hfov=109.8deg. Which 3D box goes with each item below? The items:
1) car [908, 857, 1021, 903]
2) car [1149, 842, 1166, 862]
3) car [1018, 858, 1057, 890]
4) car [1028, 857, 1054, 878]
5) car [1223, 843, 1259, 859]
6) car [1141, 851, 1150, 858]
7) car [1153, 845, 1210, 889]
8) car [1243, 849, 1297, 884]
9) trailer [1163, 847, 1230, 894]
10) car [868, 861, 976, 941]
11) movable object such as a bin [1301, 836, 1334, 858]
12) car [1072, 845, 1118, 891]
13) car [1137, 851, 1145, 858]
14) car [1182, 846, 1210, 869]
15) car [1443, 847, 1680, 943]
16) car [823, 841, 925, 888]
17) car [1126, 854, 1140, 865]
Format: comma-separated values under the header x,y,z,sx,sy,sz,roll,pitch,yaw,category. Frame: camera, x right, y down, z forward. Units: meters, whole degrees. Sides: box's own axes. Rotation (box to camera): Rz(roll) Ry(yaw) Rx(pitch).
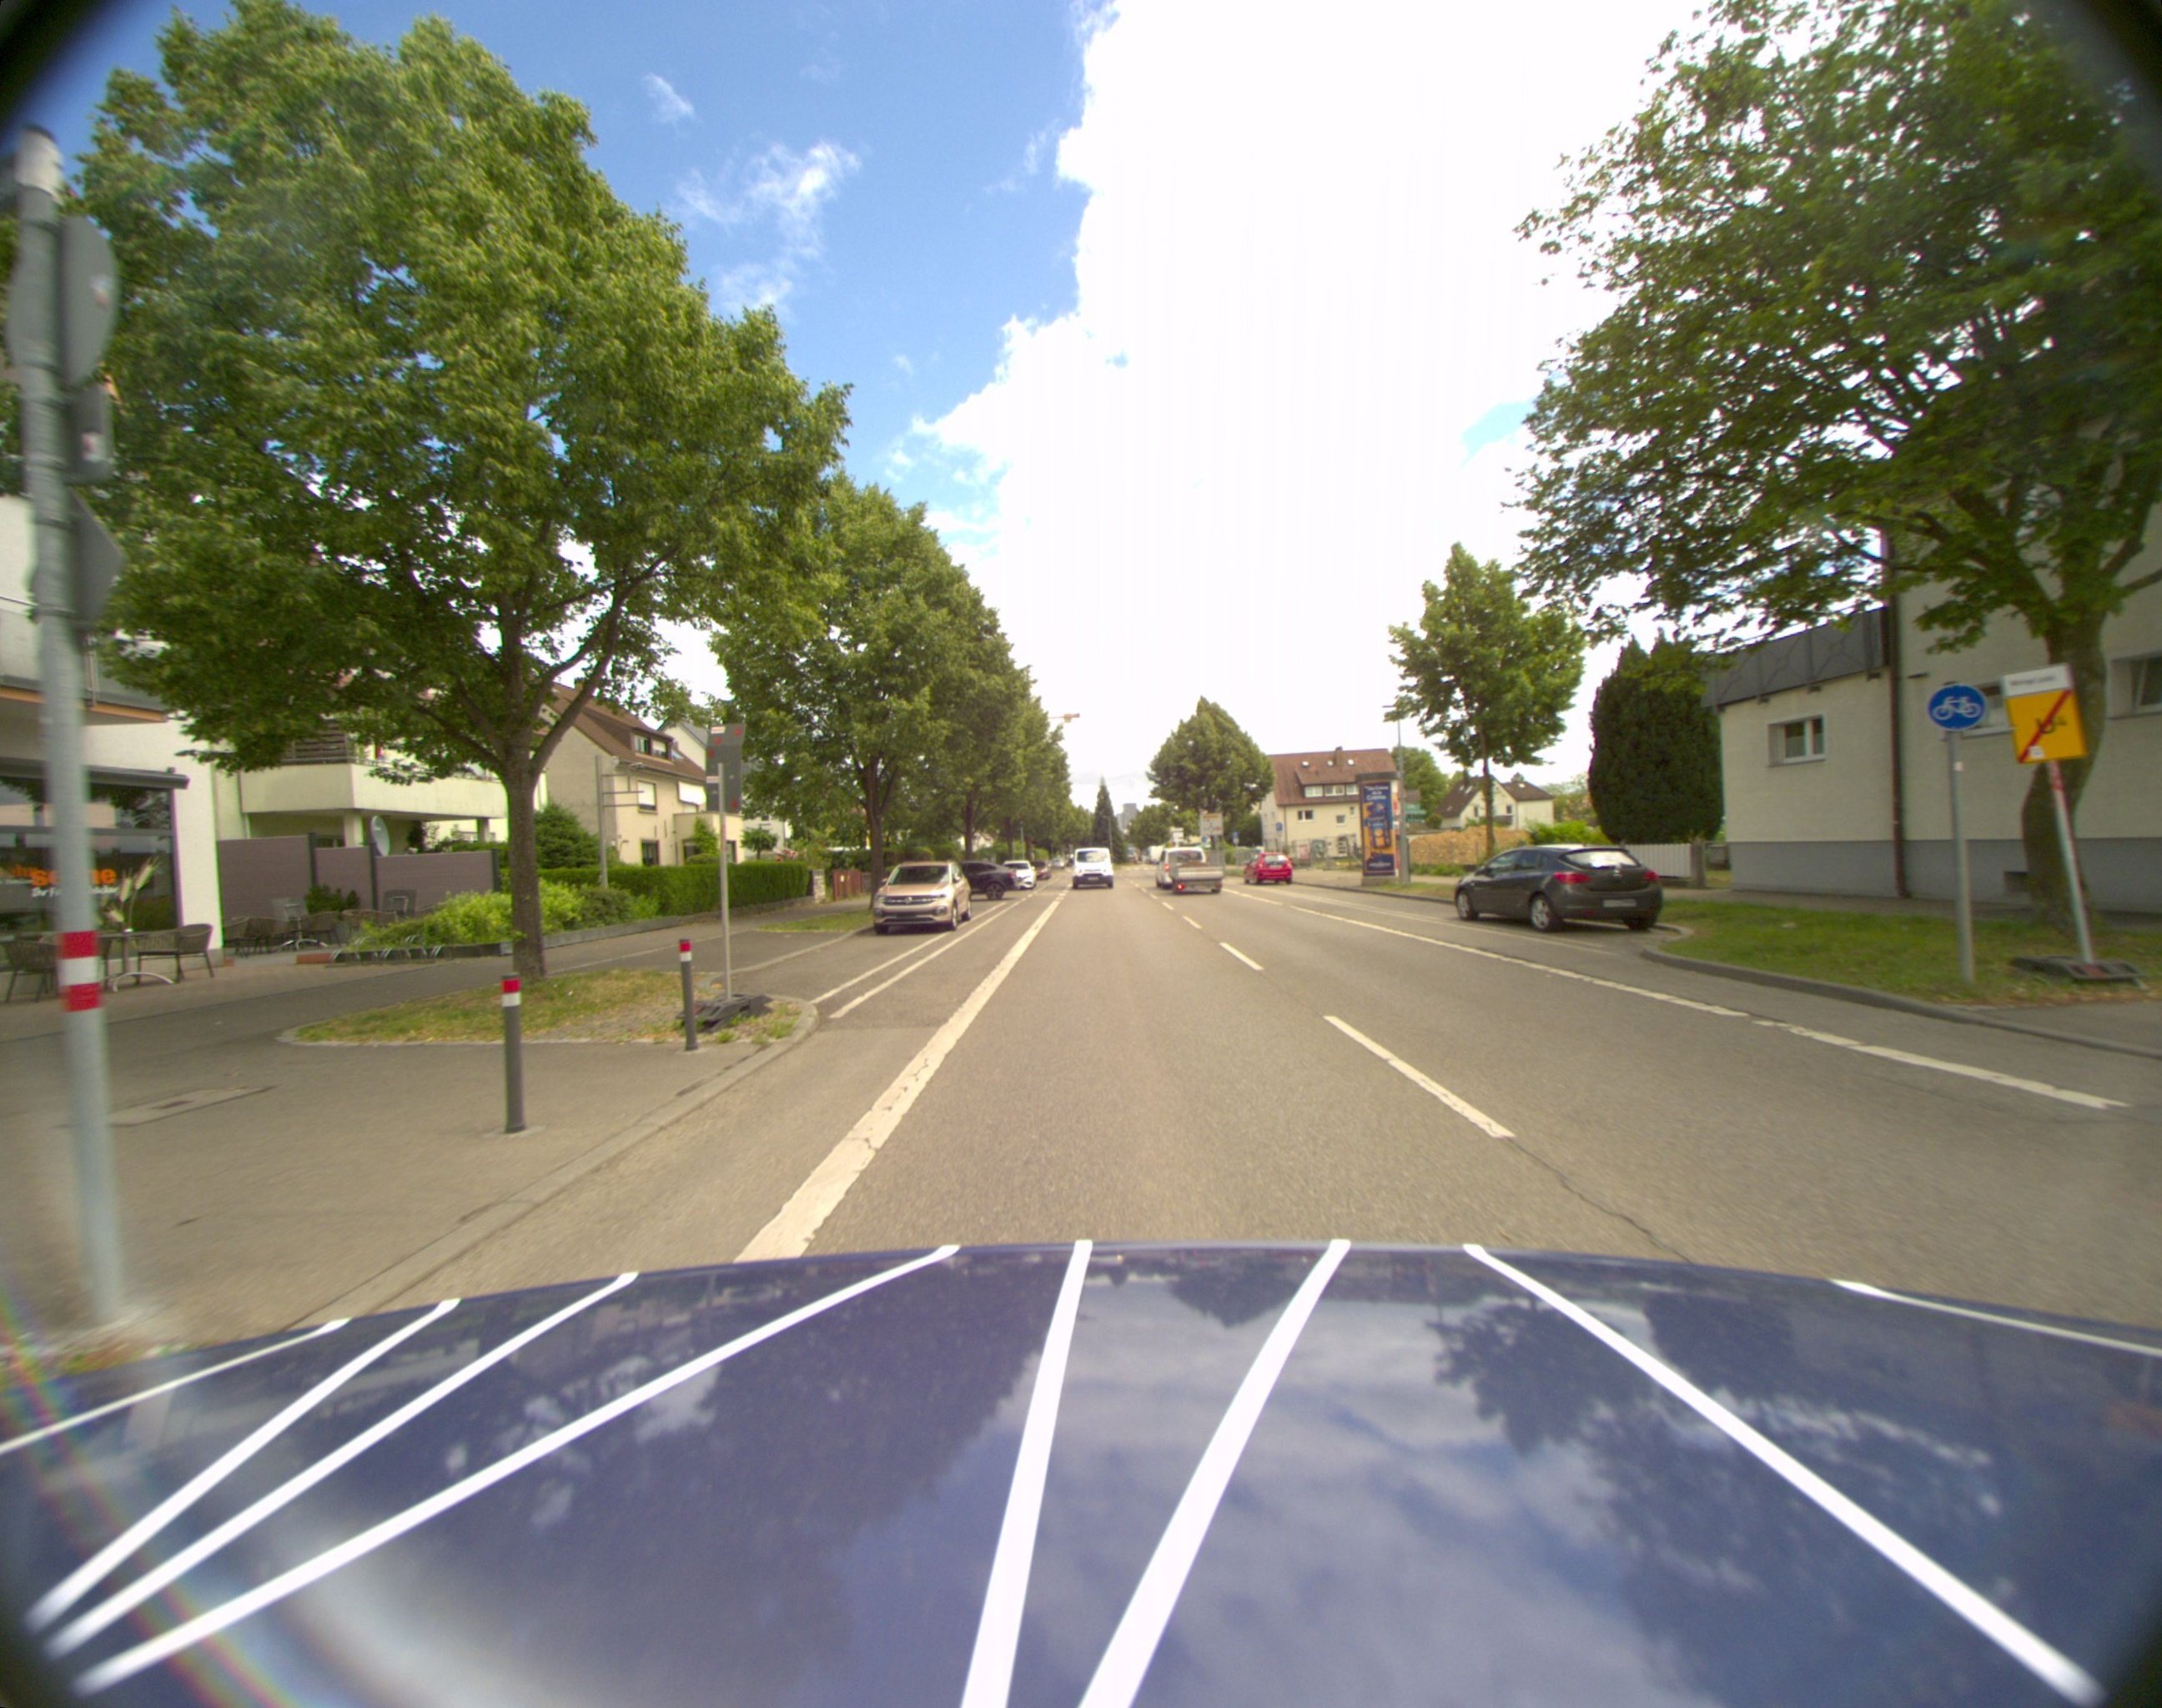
x,y,z,sx,sy,sz,roll,pitch,yaw,category
-4.467,0.971,29.657,4.229,1.628,1.692,-1,0,-5,car
11.090,-0.298,110.346,2.023,2.658,5.806,-3,0,3,car
-2.222,0.977,39.848,1.810,1.466,4.811,-2,0,-1,car
-2.959,0.978,56.190,1.657,1.407,4.177,-1,0,0,car
19.291,-0.325,91.757,3.928,1.653,1.855,-4,2,1,car
15.170,0.046,178.084,1.665,1.466,3.747,-3,0,0,car
4.534,0.547,35.001,1.971,1.820,4.819,-2,0,1,car
9.018,0.582,36.611,1.689,1.532,4.133,-2,0,3,car
4.487,0.614,30.271,1.943,1.667,4.688,-2,0,1,trailer
-3.605,0.999,17.921,1.726,1.571,4.060,-2,0,-1,car
24.407,-0.699,78.638,1.901,2.175,4.362,-3,0,-1,movable object such as a bin
0.719,0.628,37.163,1.998,2.002,5.051,-3,0,2,car
14.569,0.139,185.435,1.665,1.466,3.747,-3,0,0,car
9.497,0.282,62.863,1.774,1.760,4.552,-3,0,3,car
8.554,0.649,14.058,1.735,1.460,4.302,-2,0,2,car
-12.756,0.635,47.110,5.729,2.576,1.997,-2,0,-4,car
8.686,0.847,126.983,1.926,1.744,4.000,-3,0,-1,car
